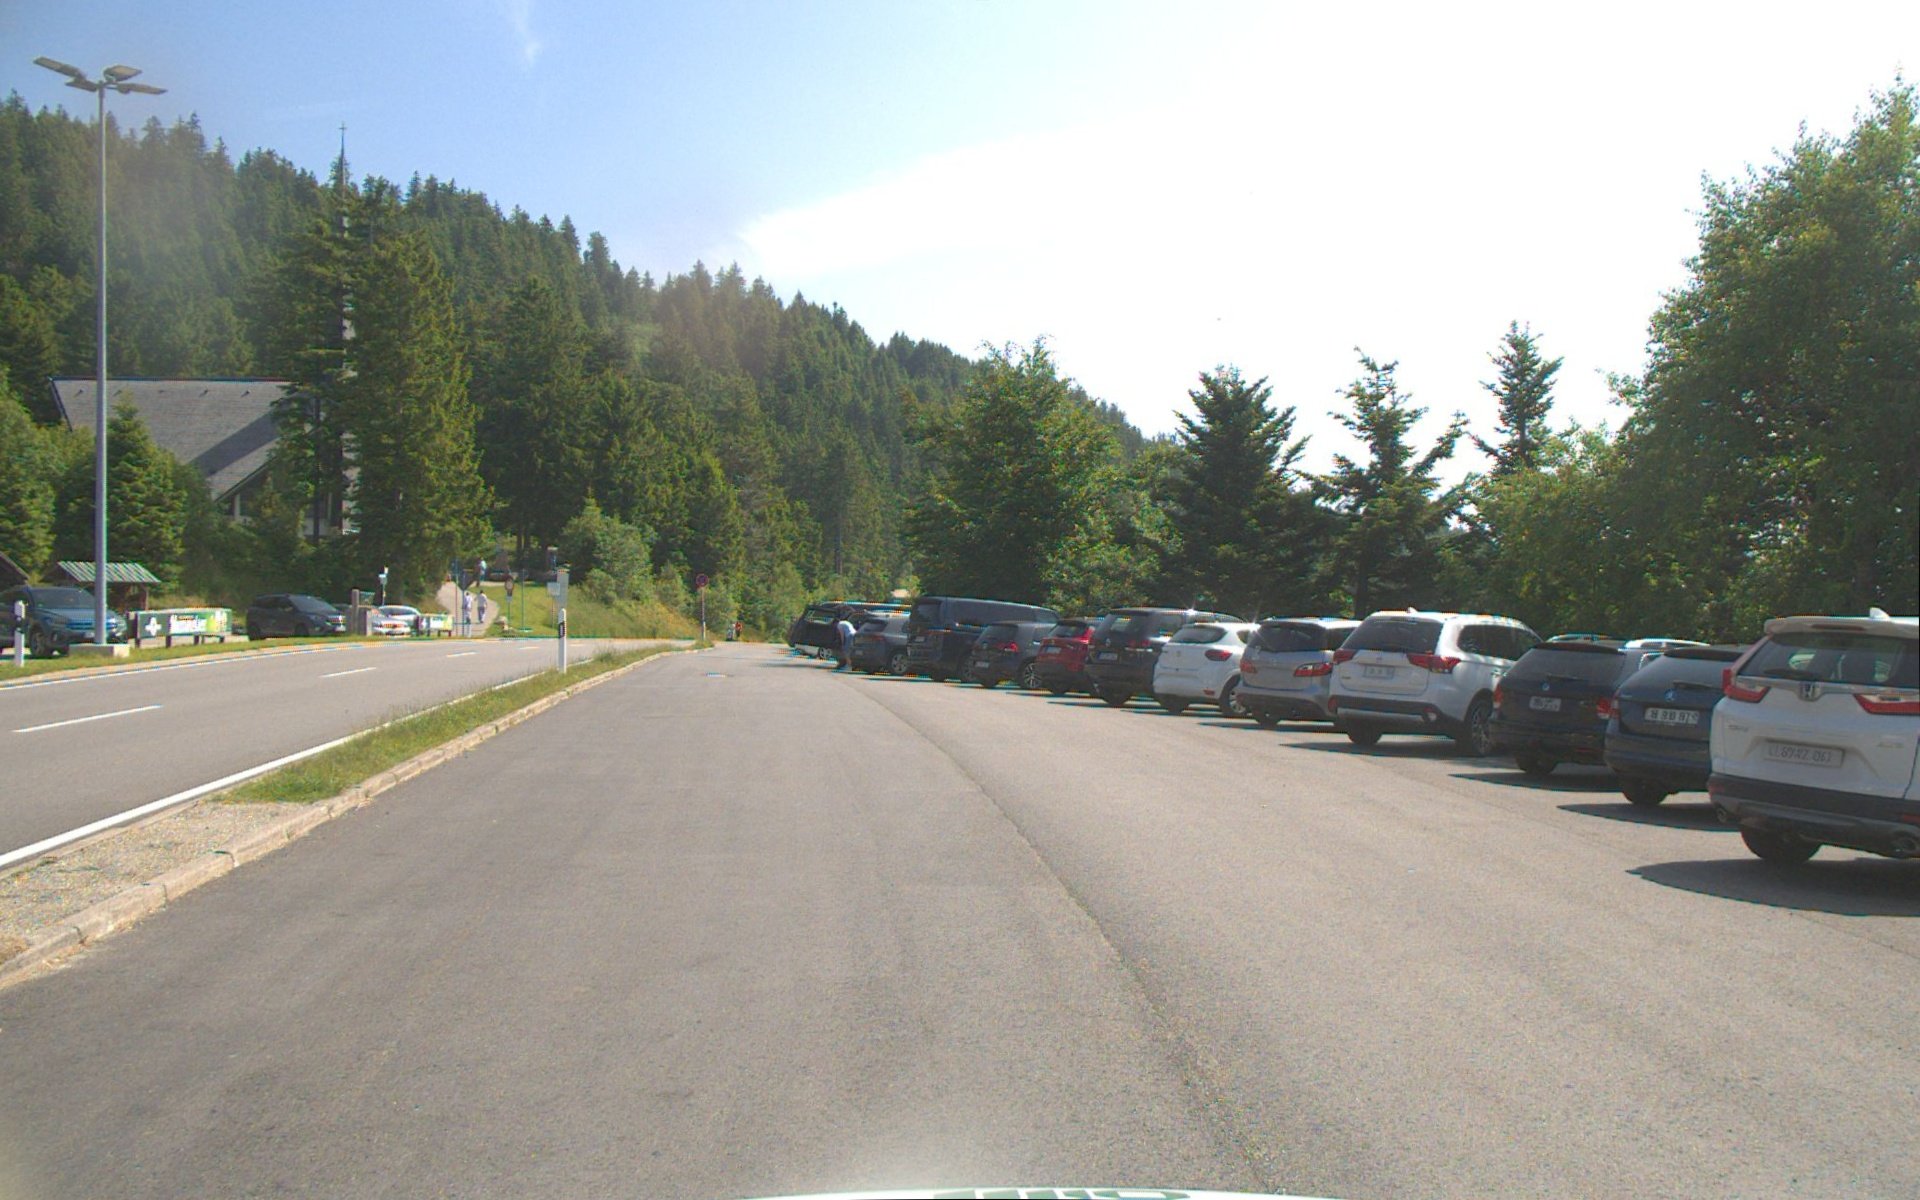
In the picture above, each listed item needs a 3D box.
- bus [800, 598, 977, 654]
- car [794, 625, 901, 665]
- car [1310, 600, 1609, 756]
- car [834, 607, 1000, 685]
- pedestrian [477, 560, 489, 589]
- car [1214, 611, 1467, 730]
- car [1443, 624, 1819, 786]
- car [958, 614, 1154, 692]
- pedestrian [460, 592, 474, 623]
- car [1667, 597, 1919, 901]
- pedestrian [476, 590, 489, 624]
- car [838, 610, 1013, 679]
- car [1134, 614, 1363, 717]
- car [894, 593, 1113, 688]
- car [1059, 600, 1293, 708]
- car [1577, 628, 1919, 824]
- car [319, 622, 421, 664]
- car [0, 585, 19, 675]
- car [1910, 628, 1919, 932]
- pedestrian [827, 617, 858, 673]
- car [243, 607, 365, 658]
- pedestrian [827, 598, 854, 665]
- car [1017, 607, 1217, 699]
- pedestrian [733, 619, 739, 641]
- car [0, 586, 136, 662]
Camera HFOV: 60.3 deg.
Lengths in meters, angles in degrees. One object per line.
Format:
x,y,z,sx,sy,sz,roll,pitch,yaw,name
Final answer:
-5.237,1.842,121.821,12.586,3.640,2.984,2,1,10,bus
-4.966,1.977,73.287,4.394,1.321,1.571,6,-2,-23,car
6.430,0.974,21.033,4.195,1.724,1.833,3,-1,-45,car
-1.141,1.246,44.577,3.953,1.691,1.976,7,-3,-35,car
-34.140,-1.838,118.275,0.802,2.049,0.850,0,1,-15,pedestrian
5.739,1.077,24.695,3.970,1.576,1.791,4,-2,-45,car
7.251,1.129,17.755,4.005,1.486,1.871,4,-1,-36,car
2.080,1.152,35.549,3.952,1.439,1.724,4,-1,-35,car
-26.714,0.402,89.657,0.641,1.696,0.641,0,-2,-13,pedestrian
6.882,0.956,10.875,4.122,1.678,1.875,4,-1,-27,car
-25.973,0.372,89.987,0.641,1.830,0.641,1,0,-13,pedestrian
-0.858,1.111,41.505,3.942,1.468,1.823,4,-1,-28,car
4.866,1.115,27.568,3.970,1.502,1.739,4,-2,-45,car
1.030,0.943,38.654,4.699,1.912,1.950,4,-1,-26,car
3.956,1.000,29.886,4.241,1.724,1.958,4,-2,-45,car
7.443,1.115,14.675,3.753,1.484,1.646,4,-1,-30,car
-22.135,1.580,61.985,3.892,1.466,1.737,0,0,37,car
-18.787,0.517,30.225,3.933,1.579,1.771,1,1,45,car
7.039,0.988,8.167,4.025,1.526,1.933,2,-1,-20,car
-3.035,1.154,42.758,0.758,1.427,0.669,0,1,-1,pedestrian
-22.195,1.089,55.918,4.122,1.662,1.784,0,-2,33,car
-3.260,0.863,45.069,0.568,1.791,0.631,4,-2,-11,pedestrian
3.199,1.074,33.139,3.970,1.617,1.833,4,-2,-45,car
-18.187,2.453,134.503,0.386,1.778,0.406,1,0,7,pedestrian
-20.071,0.500,36.705,3.983,1.595,1.732,1,0,39,car
